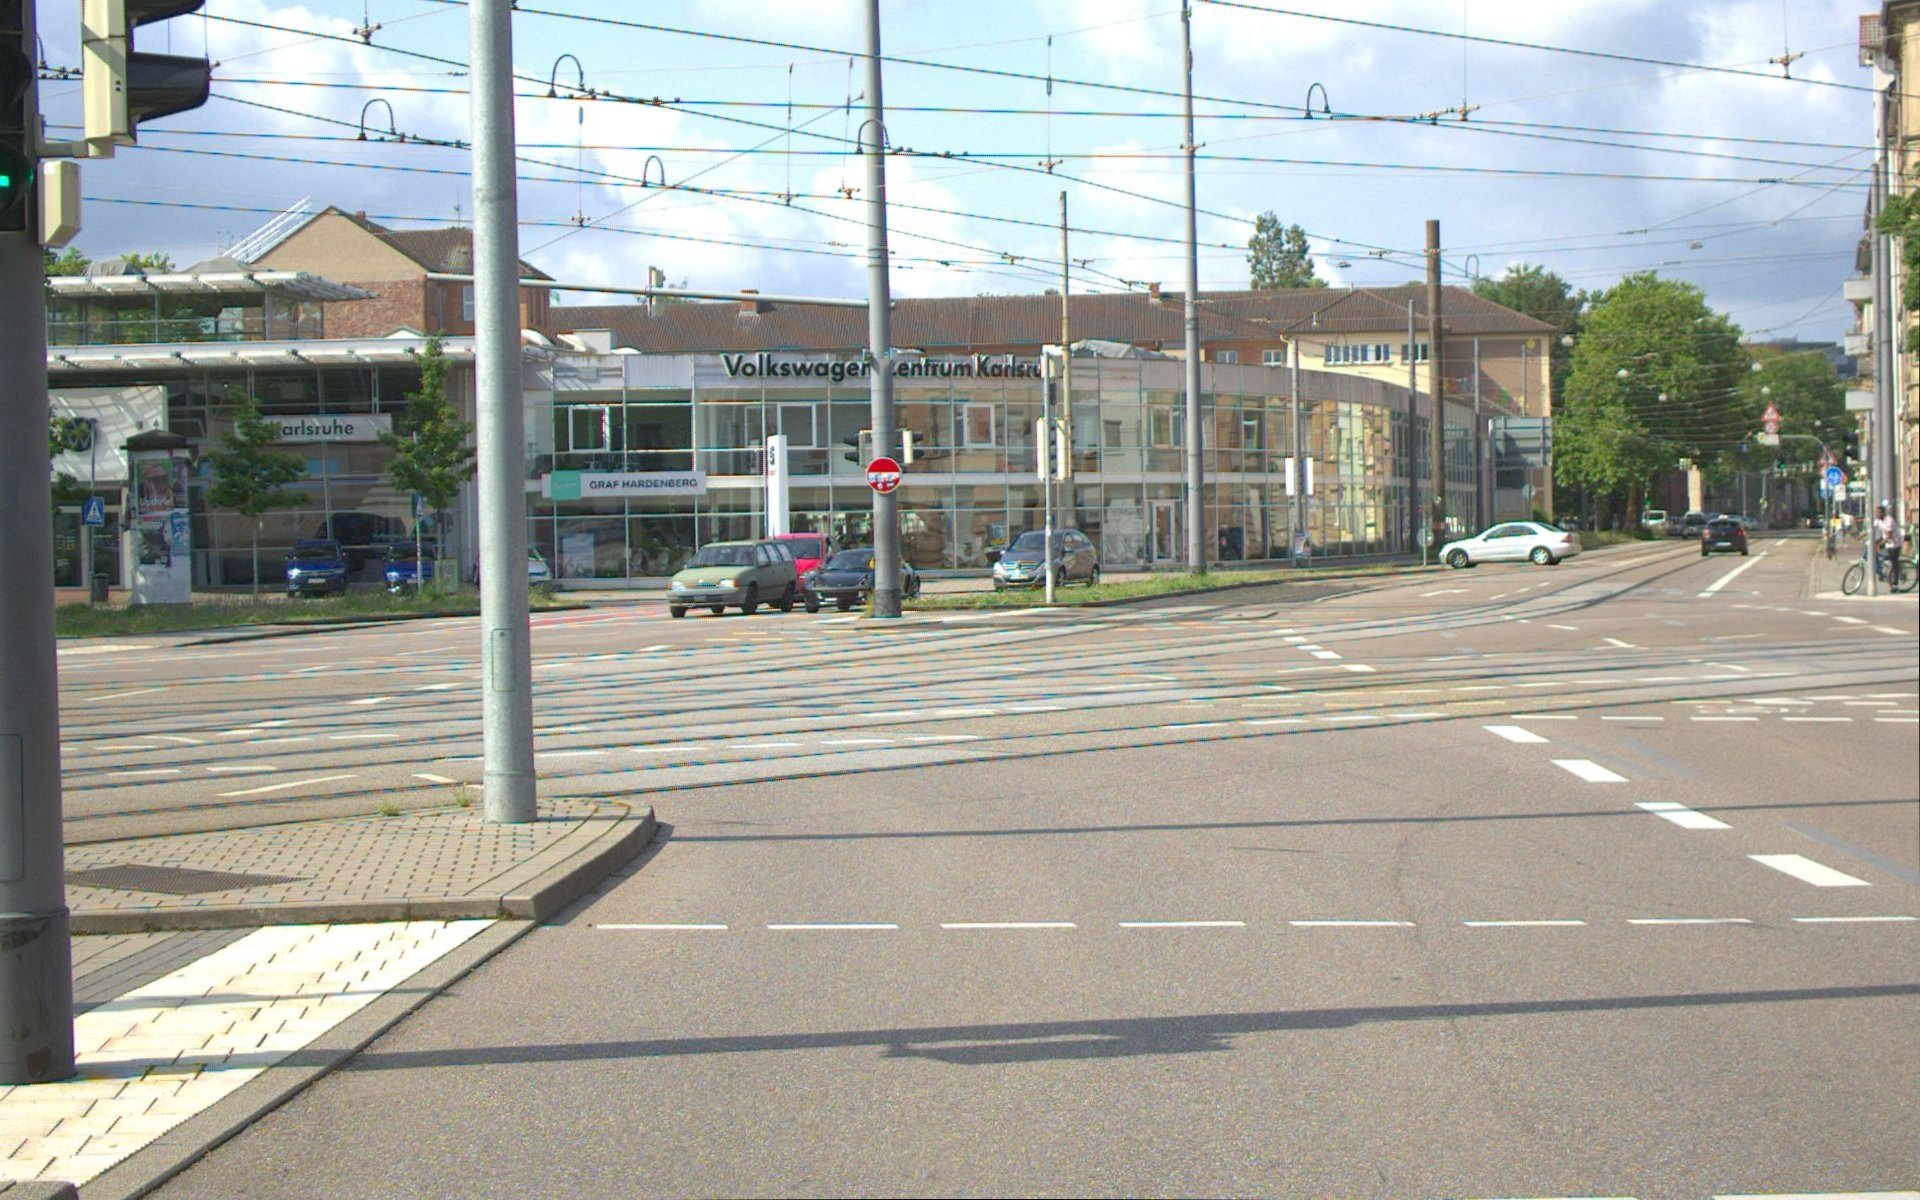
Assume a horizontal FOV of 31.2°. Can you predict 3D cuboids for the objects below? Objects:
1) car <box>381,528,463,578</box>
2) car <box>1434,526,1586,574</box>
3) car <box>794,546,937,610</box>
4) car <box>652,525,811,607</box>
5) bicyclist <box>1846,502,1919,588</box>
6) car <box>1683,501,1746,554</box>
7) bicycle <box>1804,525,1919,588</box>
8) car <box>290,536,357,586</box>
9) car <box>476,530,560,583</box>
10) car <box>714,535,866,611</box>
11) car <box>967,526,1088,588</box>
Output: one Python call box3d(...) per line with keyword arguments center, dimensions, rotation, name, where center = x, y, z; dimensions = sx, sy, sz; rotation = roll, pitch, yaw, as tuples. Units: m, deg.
box3d(center=(-15.982, -1.407, 102.209), dimensions=(1.919, 1.440, 4.001), rotation=(-1, 1, -2), name="car")
box3d(center=(17.642, -1.601, 110.246), dimensions=(4.473, 1.459, 1.779), rotation=(1, 1, 26), name="car")
box3d(center=(-1.766, -0.428, 65.750), dimensions=(1.622, 1.157, 3.997), rotation=(1, 1, 15), name="car")
box3d(center=(-4.339, -0.647, 65.879), dimensions=(1.822, 1.508, 3.997), rotation=(1, 1, 15), name="car")
box3d(center=(17.888, -1.070, 66.629), dimensions=(1.193, 1.652, 0.786), rotation=(-1, 1, -3), name="bicyclist")
box3d(center=(29.069, -2.806, 132.403), dimensions=(1.995, 2.007, 3.997), rotation=(-1, 1, 18), name="car")
box3d(center=(17.804, -0.855, 66.574), dimensions=(2.671, 1.166, 0.901), rotation=(-1, 1, -3), name="bicycle")
box3d(center=(-18.986, -1.177, 102.569), dimensions=(1.919, 1.440, 4.001), rotation=(-1, 1, -10), name="car")
box3d(center=(-13.388, -1.337, 104.318), dimensions=(1.919, 1.546, 4.000), rotation=(-1, 1, 1), name="car")
box3d(center=(-3.501, -0.560, 71.642), dimensions=(1.995, 1.514, 3.997), rotation=(1, 1, 15), name="car")
box3d(center=(1.774, -1.090, 88.635), dimensions=(1.995, 1.547, 3.996), rotation=(1, 1, 18), name="car")
